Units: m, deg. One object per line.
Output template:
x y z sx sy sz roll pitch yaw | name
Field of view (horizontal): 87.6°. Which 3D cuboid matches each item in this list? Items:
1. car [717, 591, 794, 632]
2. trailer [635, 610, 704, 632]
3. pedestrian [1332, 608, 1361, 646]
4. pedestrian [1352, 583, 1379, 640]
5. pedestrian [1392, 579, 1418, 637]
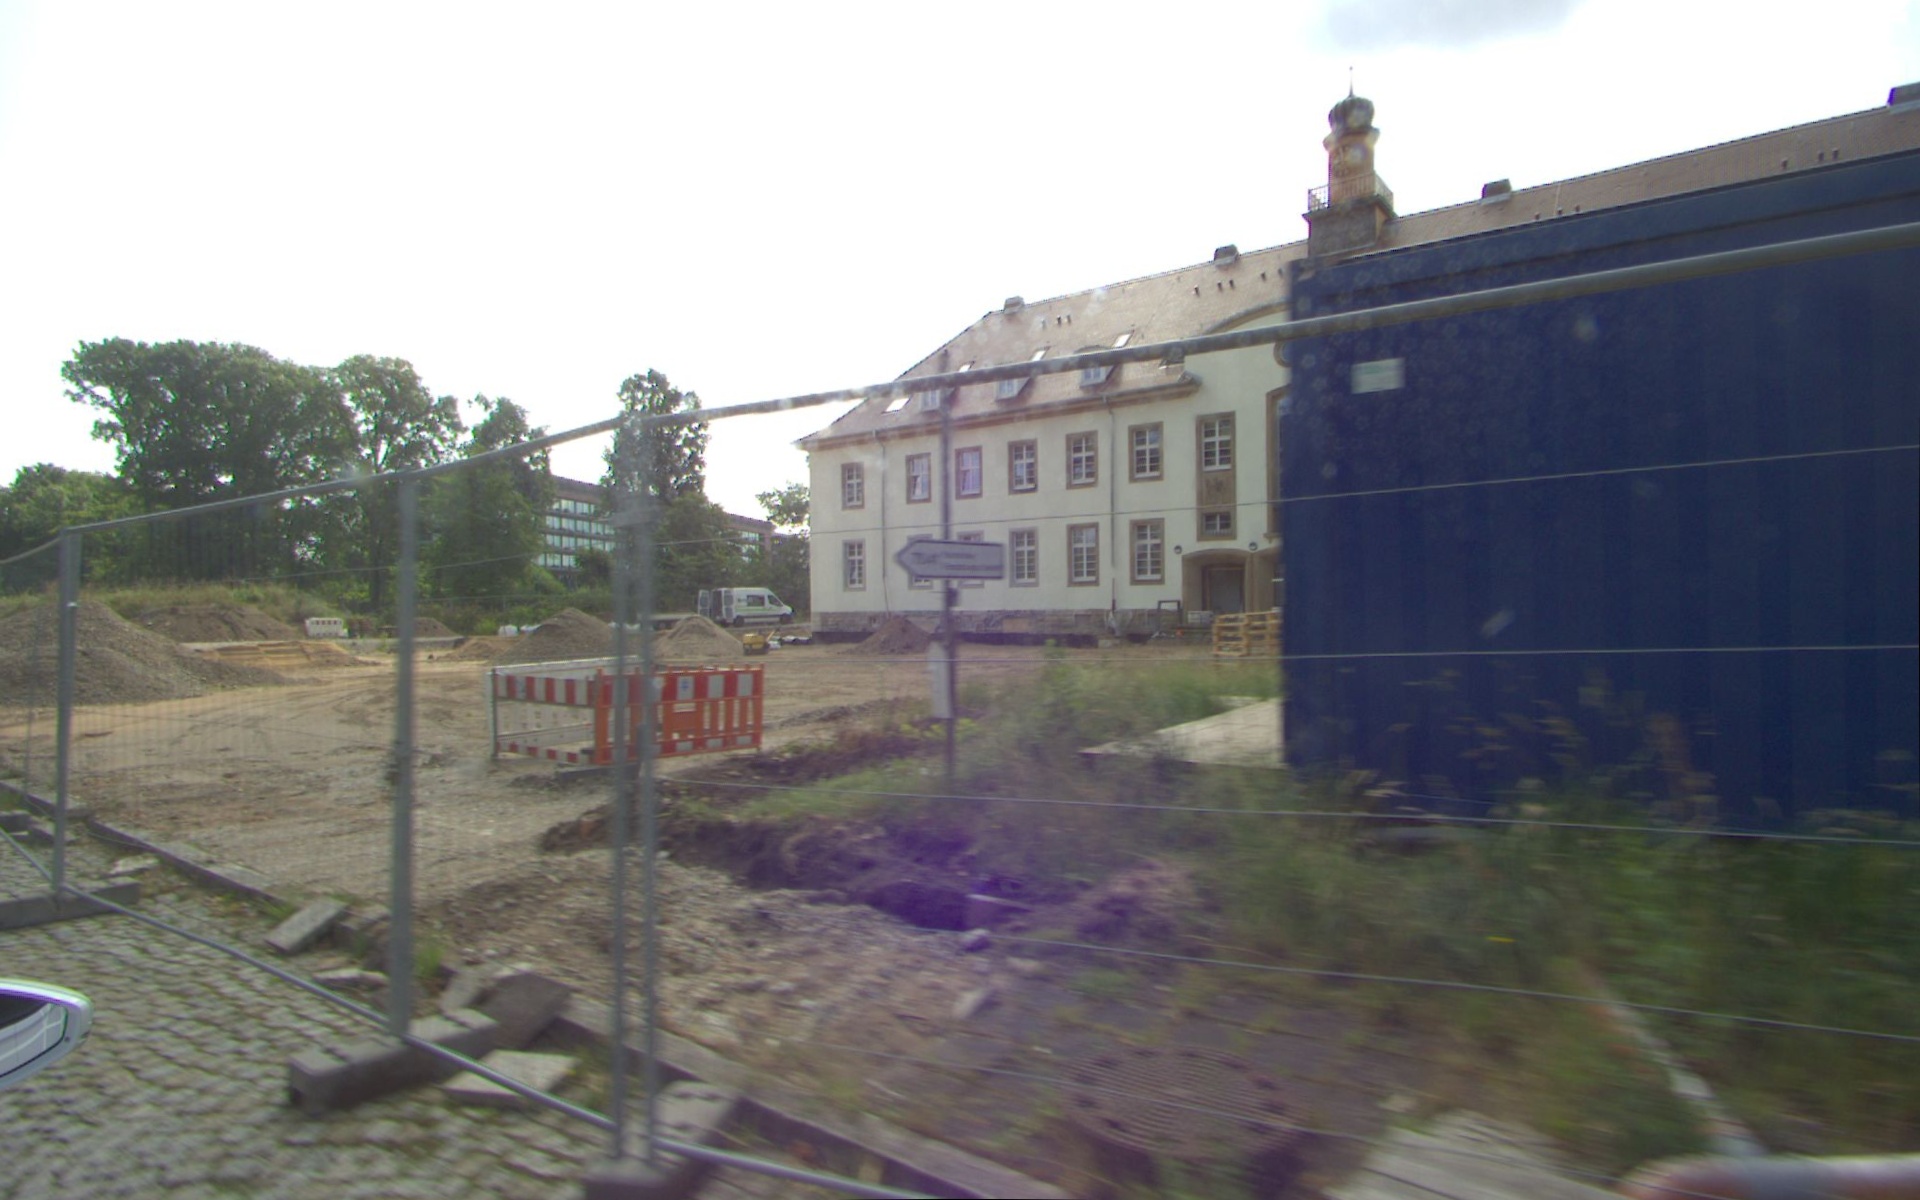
-13.967 0.773 68.568 4.766 2.677 2.038 0 0 -41 | car
-18.844 1.358 64.901 3.941 1.372 2.078 0 -1 -29 | trailer
12.561 0.876 32.544 0.713 1.226 0.665 0 0 37 | pedestrian
13.521 0.379 33.406 0.724 1.859 0.643 0 0 34 | pedestrian
14.480 0.248 32.582 0.638 1.859 0.873 0 0 33 | pedestrian
